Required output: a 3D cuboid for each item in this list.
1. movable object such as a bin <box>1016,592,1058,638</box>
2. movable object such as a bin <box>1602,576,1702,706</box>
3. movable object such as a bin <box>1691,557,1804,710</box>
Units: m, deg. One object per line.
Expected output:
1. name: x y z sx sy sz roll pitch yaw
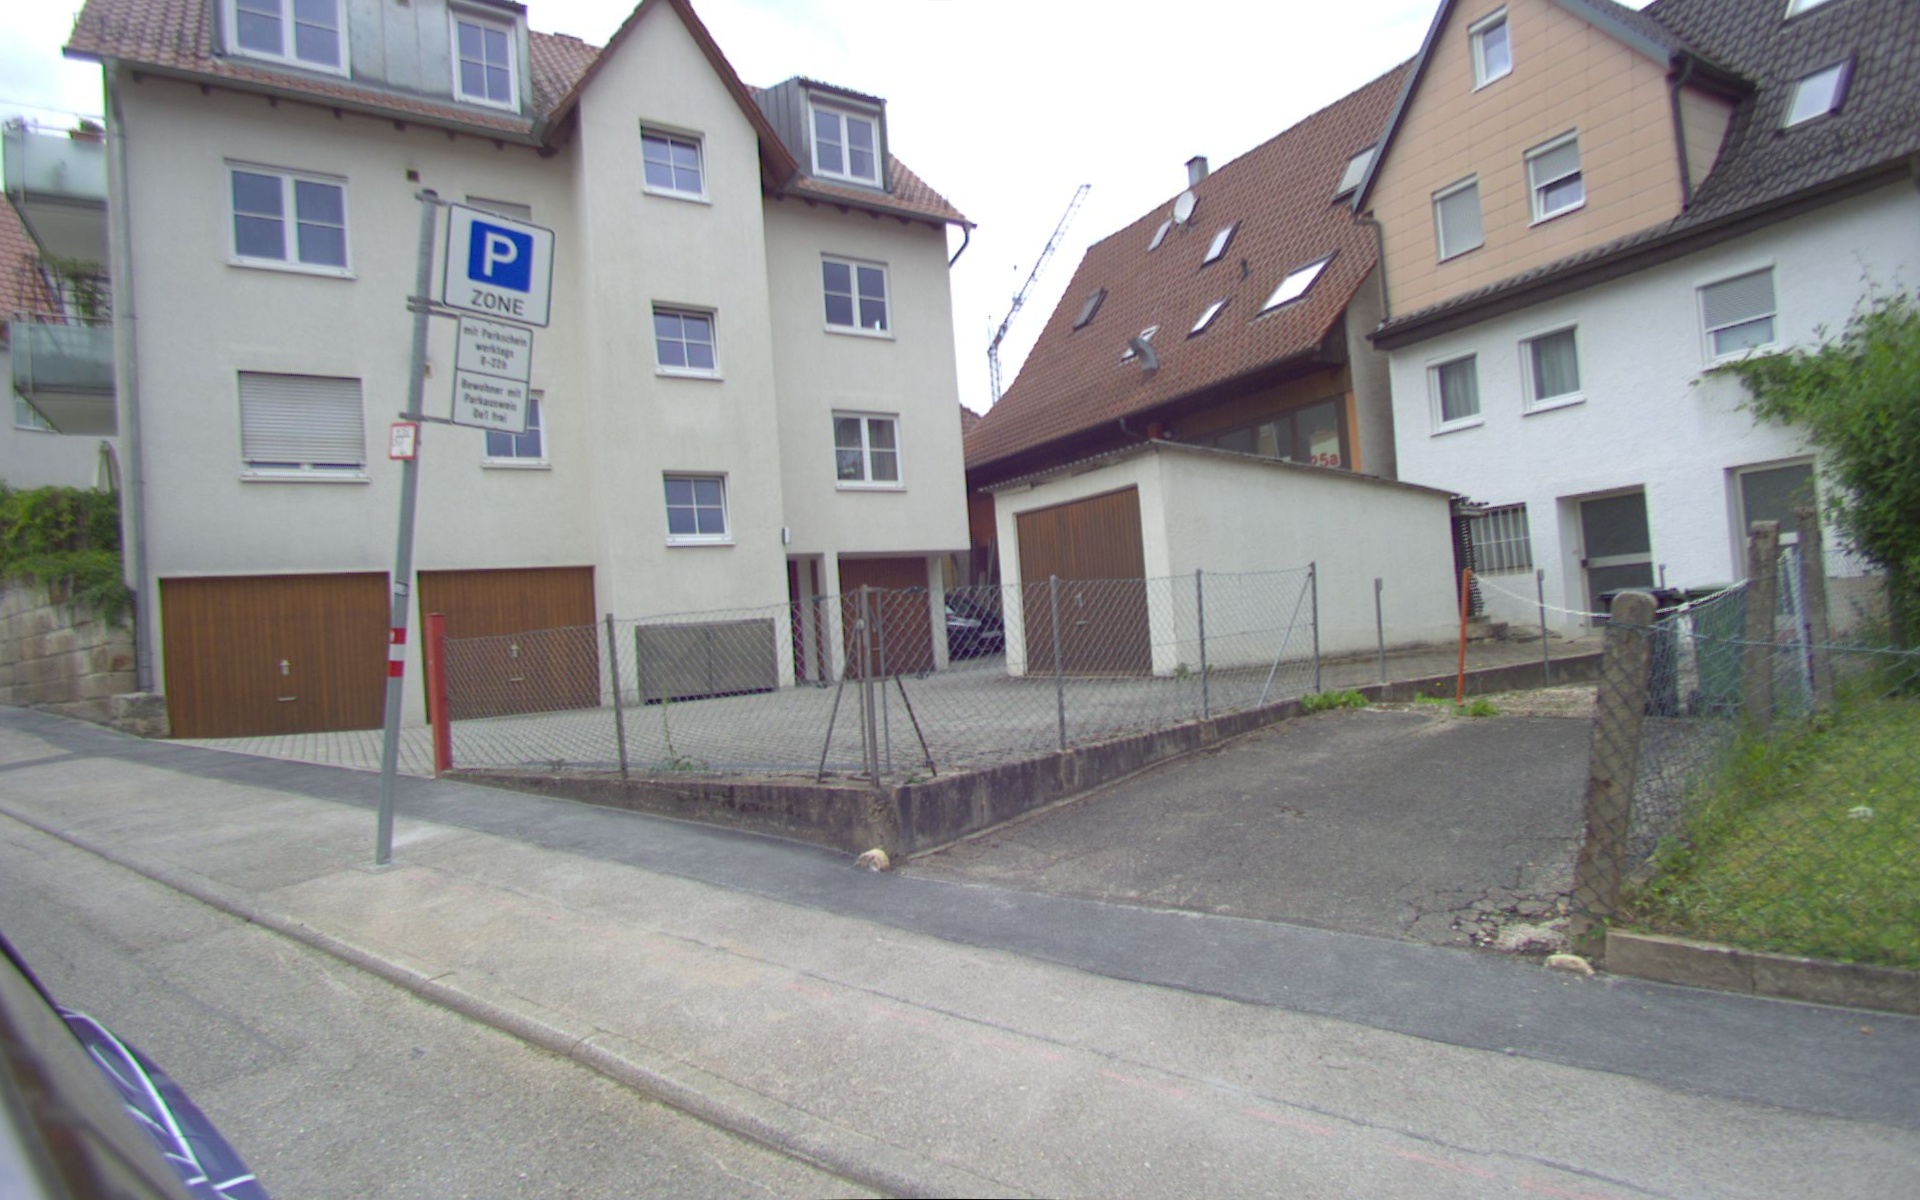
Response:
1. movable object such as a bin: 1.876 0.370 24.684 0.761 1.070 0.590 -3 0 -35
2. movable object such as a bin: 5.004 0.287 7.325 0.371 0.900 0.491 -1 0 -39
3. movable object such as a bin: 5.347 0.221 6.877 0.393 0.989 0.509 0 -1 -39
